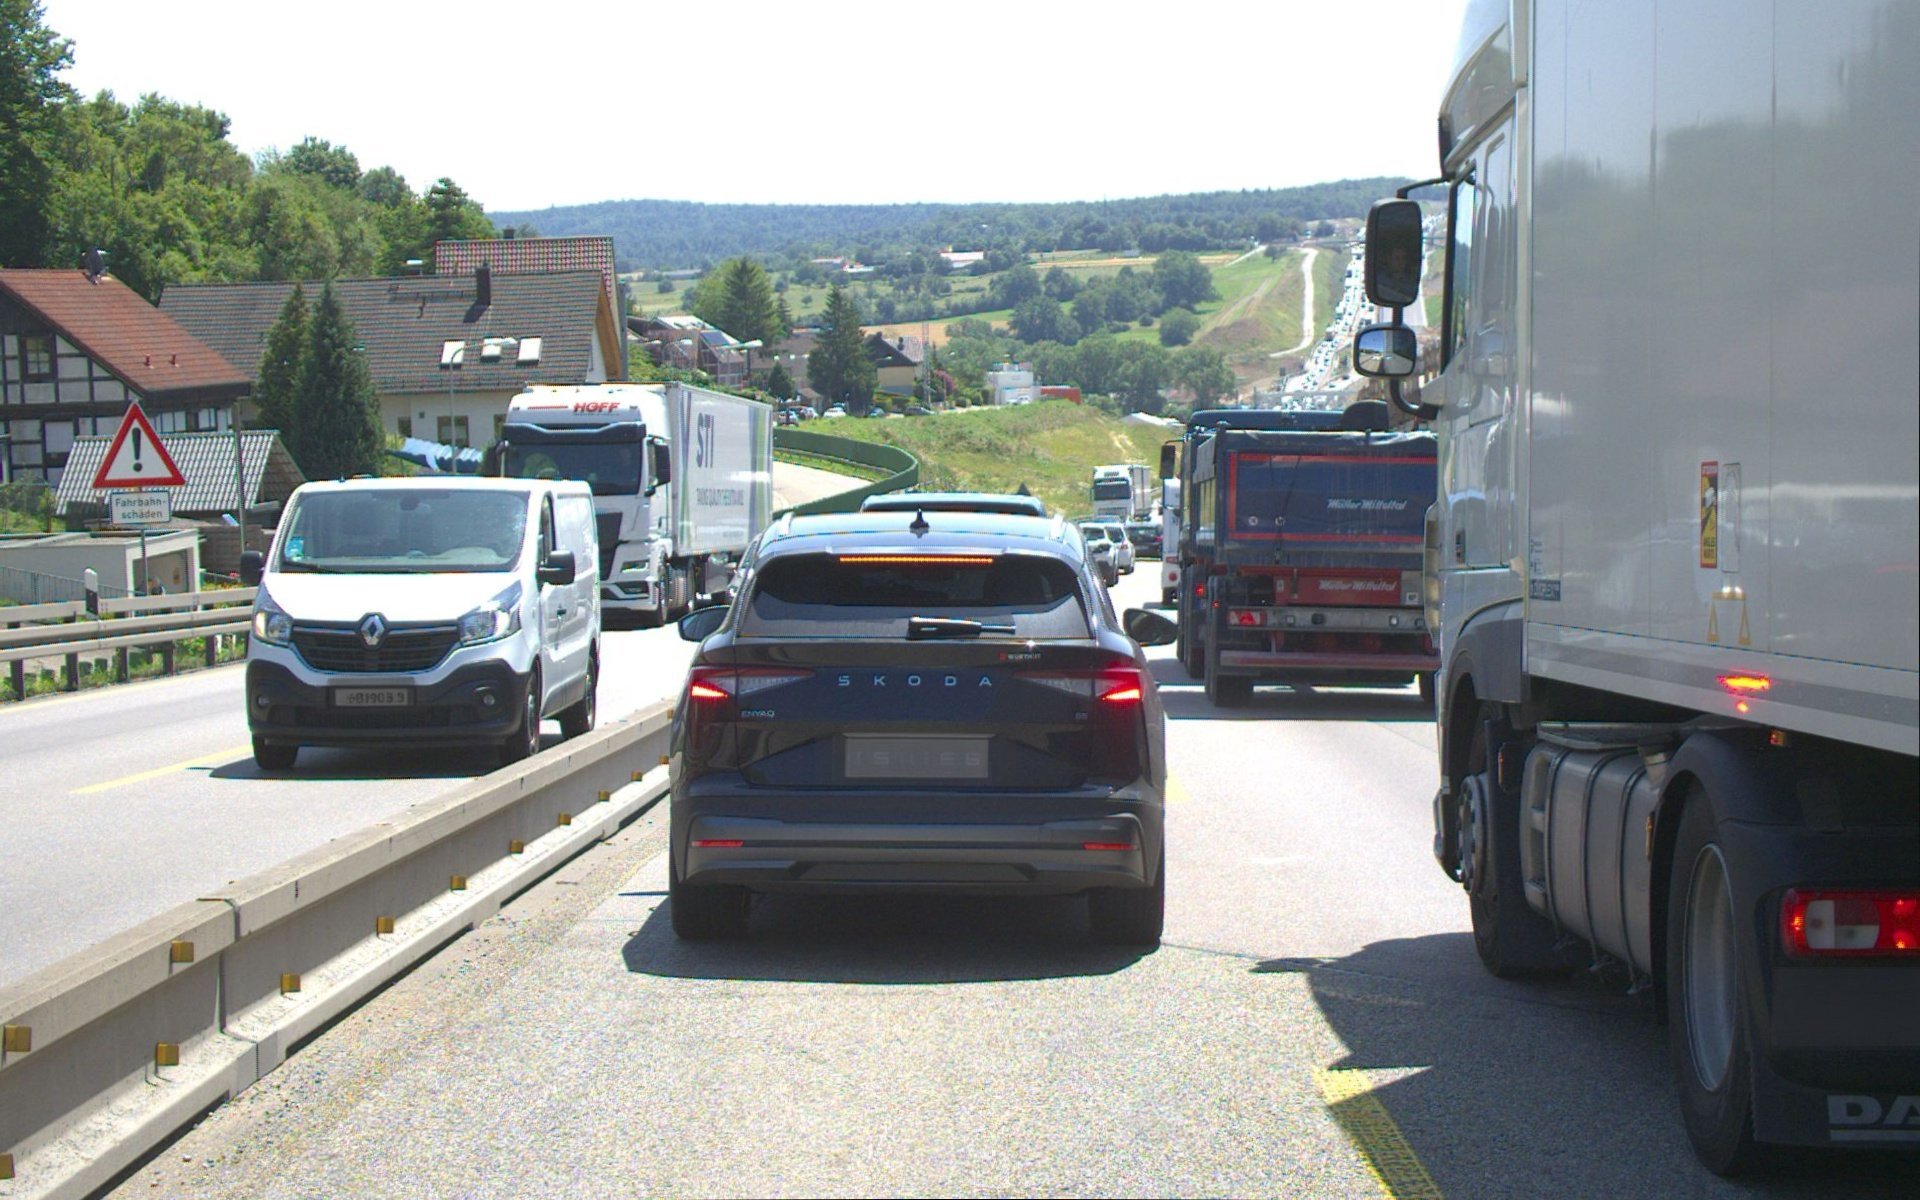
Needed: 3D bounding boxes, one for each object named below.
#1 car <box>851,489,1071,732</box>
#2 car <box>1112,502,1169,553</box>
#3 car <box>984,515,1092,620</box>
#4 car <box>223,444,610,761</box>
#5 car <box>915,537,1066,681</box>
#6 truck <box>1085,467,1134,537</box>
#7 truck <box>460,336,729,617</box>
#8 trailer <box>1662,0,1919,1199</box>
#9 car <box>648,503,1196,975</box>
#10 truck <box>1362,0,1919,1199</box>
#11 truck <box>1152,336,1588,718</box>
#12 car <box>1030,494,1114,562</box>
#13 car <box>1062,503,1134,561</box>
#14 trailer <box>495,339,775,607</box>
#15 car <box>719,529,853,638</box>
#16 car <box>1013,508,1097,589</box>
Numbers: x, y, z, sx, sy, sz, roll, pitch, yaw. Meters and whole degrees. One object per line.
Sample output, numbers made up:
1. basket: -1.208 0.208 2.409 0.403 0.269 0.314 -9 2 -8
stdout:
1. car: -0.059 0.022 29.253 1.706 1.875 4.001 1 2 -2
2. car: 6.300 -2.507 119.721 1.701 1.722 3.835 1 1 6
3. car: 1.321 -0.573 57.487 1.707 1.616 4.000 1 2 2
4. car: -3.720 -0.011 24.382 1.993 2.004 4.858 -1 1 0
5. car: 0.336 0.074 43.333 1.706 1.616 4.001 1 2 -2
6. truck: 9.452 -6.177 216.804 2.752 4.268 4.956 1 2 5
7. truck: -6.030 -1.983 58.164 3.303 4.347 8.301 1 1 2
8. trailer: 3.050 -0.661 2.209 2.531 4.113 11.549 1 1 -1
9. car: -0.191 0.457 13.703 1.842 1.581 3.908 1 1 -2
10. truck: 2.920 -0.635 9.092 2.513 4.011 8.238 1 1 -1
11. truck: 3.807 -0.677 35.364 3.195 3.180 12.808 1 1 1
12. car: 2.785 -1.758 84.870 1.994 1.579 3.836 1 1 3
13. car: 3.980 -1.945 98.904 1.994 1.579 3.836 1 1 3
14. trailer: -5.752 -2.166 63.833 3.252 4.363 14.058 1 1 2
15. car: -2.587 -0.256 51.891 1.845 1.568 4.000 0 1 0
16. car: 2.037 -1.117 73.619 1.707 1.616 4.000 1 2 2
